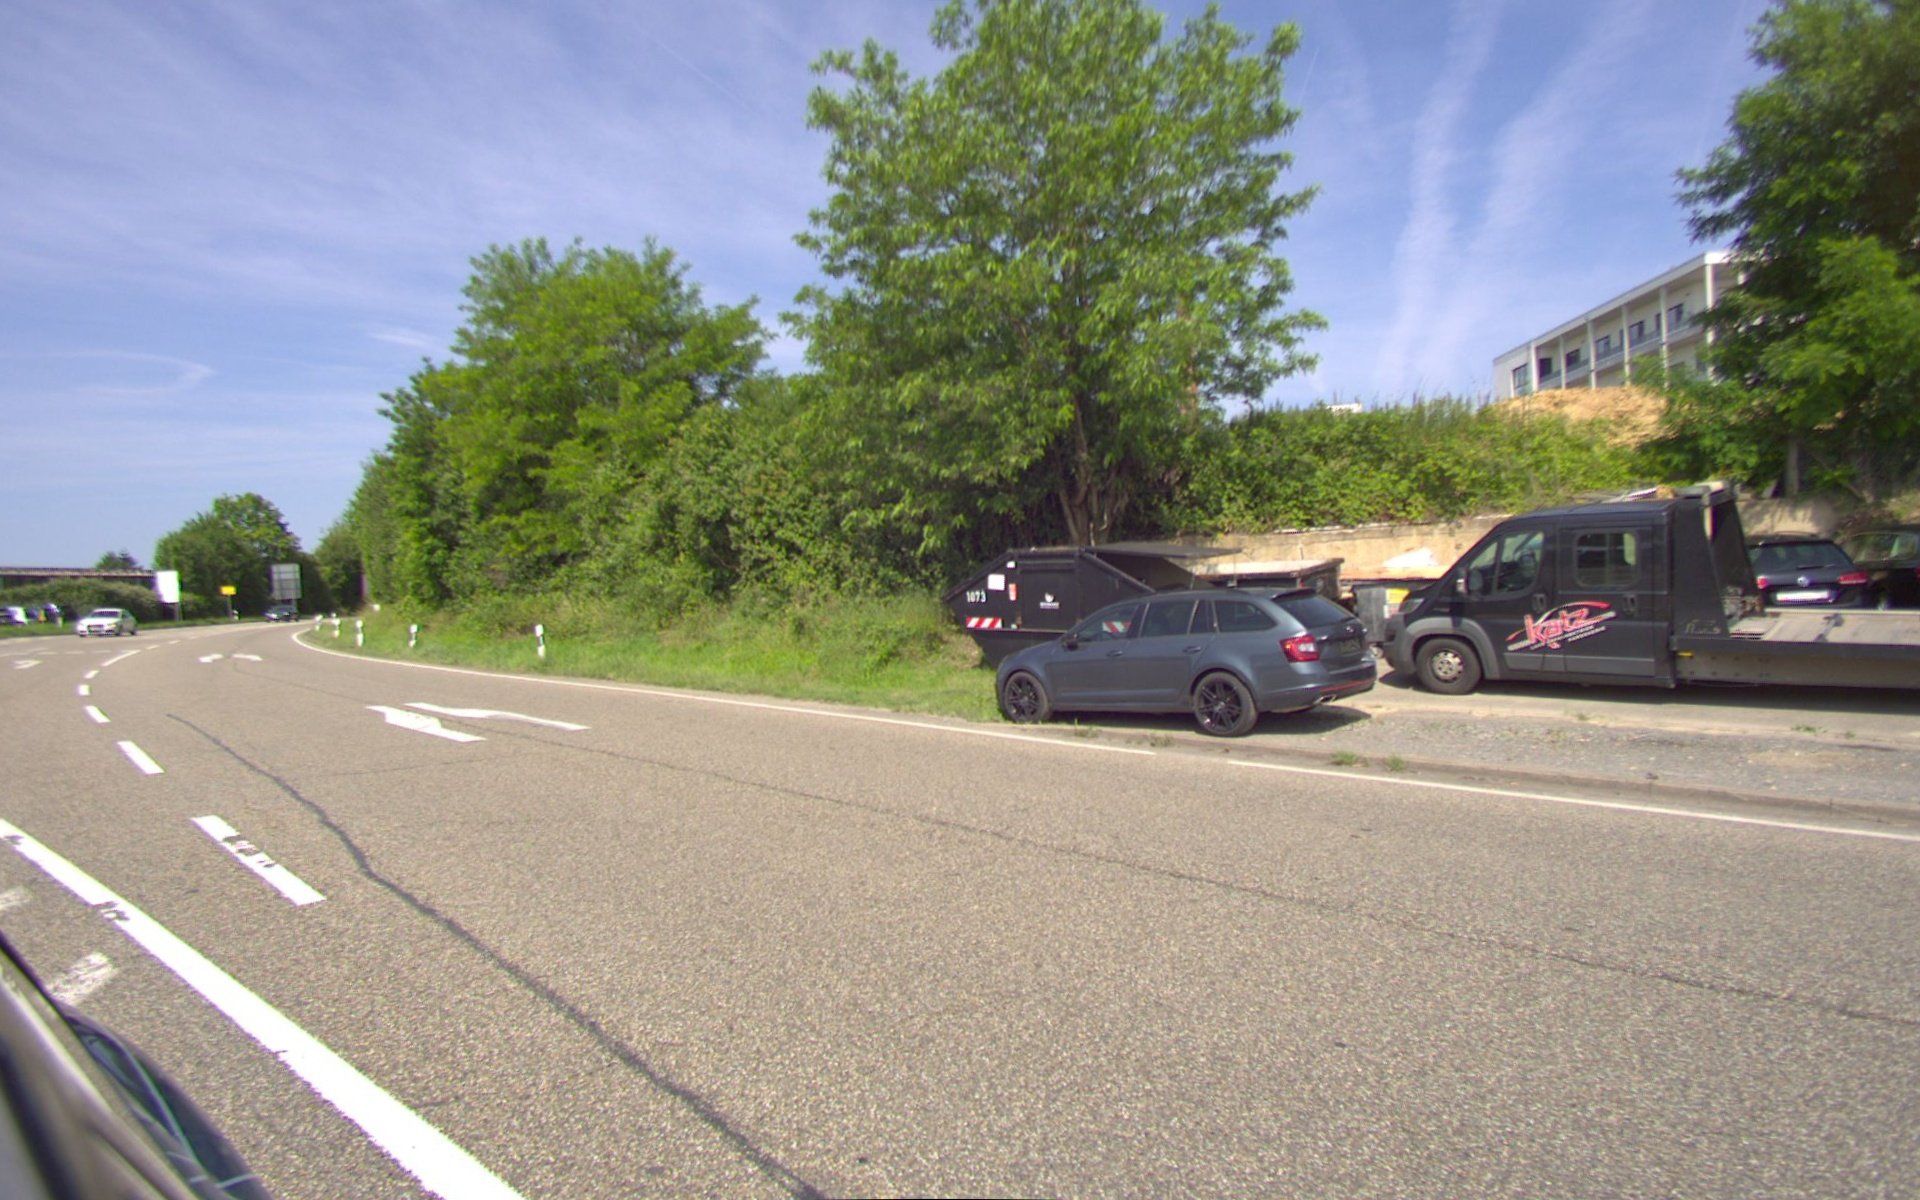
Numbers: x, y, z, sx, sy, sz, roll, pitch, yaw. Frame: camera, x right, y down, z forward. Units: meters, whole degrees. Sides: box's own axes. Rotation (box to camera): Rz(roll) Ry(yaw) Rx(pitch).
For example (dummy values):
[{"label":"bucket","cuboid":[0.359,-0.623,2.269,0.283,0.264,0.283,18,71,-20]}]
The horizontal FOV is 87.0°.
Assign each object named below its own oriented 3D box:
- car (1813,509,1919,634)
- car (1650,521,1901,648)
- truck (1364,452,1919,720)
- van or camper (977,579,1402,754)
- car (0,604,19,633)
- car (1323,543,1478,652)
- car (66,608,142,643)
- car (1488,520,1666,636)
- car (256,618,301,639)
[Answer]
[{"label":"car","cuboid":[12.663,-0.410,12.881,1.728,1.480,3.643,-2,1,23]},{"label":"car","cuboid":[11.000,-0.226,13.963,1.728,1.480,3.643,-2,1,23]},{"label":"truck","cuboid":[8.865,-0.225,9.976,2.305,2.313,8.811,-9,5,-43]},{"label":"van or camper","cuboid":[2.371,0.625,11.386,1.621,1.535,4.470,-4,2,-44]},{"label":"car","cuboid":[-58.170,1.169,59.176,4.185,1.650,1.828,-3,0,-20]},{"label":"car","cuboid":[7.091,-0.078,16.111,1.711,1.522,3.632,-2,1,32]},{"label":"car","cuboid":[-44.825,1.296,53.091,1.837,1.653,4.436,-3,1,-25]},{"label":"car","cuboid":[9.091,-0.337,15.207,1.728,1.480,3.643,-2,1,23]},{"label":"car","cuboid":[-60.948,2.498,90.569,1.838,1.653,4.434,-3,1,-14]}]
